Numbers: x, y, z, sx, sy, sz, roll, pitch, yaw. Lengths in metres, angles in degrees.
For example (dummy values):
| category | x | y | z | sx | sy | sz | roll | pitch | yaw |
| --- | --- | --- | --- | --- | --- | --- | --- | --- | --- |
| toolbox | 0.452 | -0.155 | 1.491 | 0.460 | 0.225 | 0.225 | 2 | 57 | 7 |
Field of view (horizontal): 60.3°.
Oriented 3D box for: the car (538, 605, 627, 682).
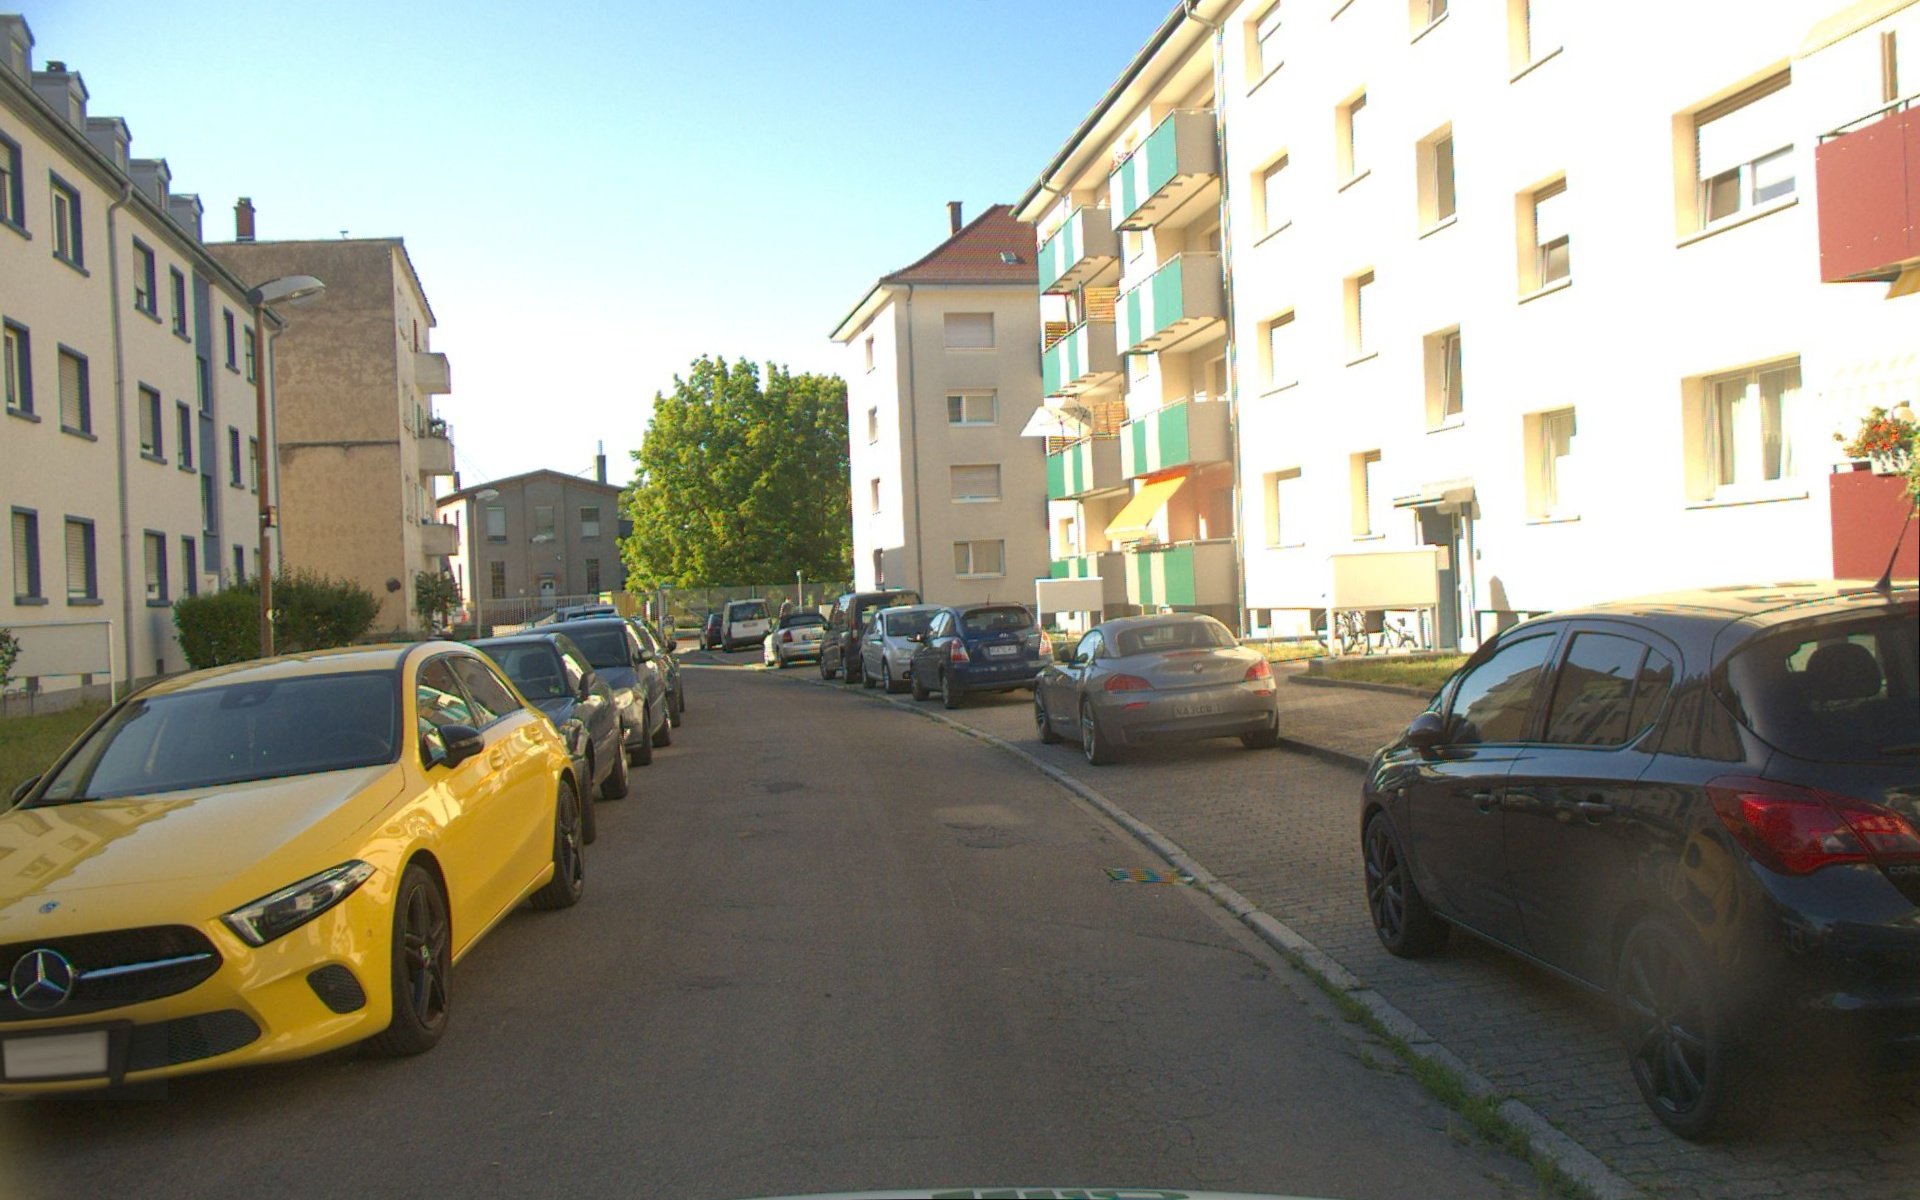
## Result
| category | x | y | z | sx | sy | sz | roll | pitch | yaw |
| --- | --- | --- | --- | --- | --- | --- | --- | --- | --- |
| car | -8.832 | 0.979 | 38.594 | 1.802 | 1.541 | 3.985 | -5 | 0 | -14 |

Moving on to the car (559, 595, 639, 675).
| category | x | y | z | sx | sy | sz | roll | pitch | yaw |
| --- | --- | --- | --- | --- | --- | --- | --- | --- | --- |
| car | -9.562 | 0.912 | 43.621 | 1.864 | 1.887 | 4.180 | -4 | 0 | -14 |

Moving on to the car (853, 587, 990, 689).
| category | x | y | z | sx | sy | sz | roll | pitch | yaw |
| --- | --- | --- | --- | --- | --- | --- | --- | --- | --- |
| car | -0.773 | 0.656 | 30.249 | 1.653 | 1.615 | 3.999 | -4 | 1 | -13 |

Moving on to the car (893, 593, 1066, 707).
| category | x | y | z | sx | sy | sz | roll | pitch | yaw |
| --- | --- | --- | --- | --- | --- | --- | --- | --- | --- |
| car | 0.200 | 0.730 | 25.689 | 1.707 | 1.456 | 4.343 | -5 | 0 | -11 |

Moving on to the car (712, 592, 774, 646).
| category | x | y | z | sx | sy | sz | roll | pitch | yaw |
| --- | --- | --- | --- | --- | --- | --- | --- | --- | --- |
| car | -8.054 | 0.707 | 61.147 | 1.736 | 1.769 | 4.080 | -5 | 0 | -13 |

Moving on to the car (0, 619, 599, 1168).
| category | x | y | z | sx | sy | sz | roll | pitch | yaw |
| --- | --- | --- | --- | --- | --- | --- | --- | --- | --- |
| car | -2.728 | 0.905 | 6.923 | 1.661 | 1.413 | 4.154 | -4 | 1 | -4 |

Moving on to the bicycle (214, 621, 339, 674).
| category | x | y | z | sx | sy | sz | roll | pitch | yaw |
| --- | --- | --- | --- | --- | --- | --- | --- | --- | --- |
| bicycle | -15.837 | 1.098 | 38.384 | 2.629 | 1.150 | 0.769 | -1 | 0 | -21 |

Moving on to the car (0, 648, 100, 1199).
| category | x | y | z | sx | sy | sz | roll | pitch | yaw |
| --- | --- | --- | --- | --- | --- | --- | --- | --- | --- |
| car | -2.631 | 0.939 | 1.567 | 1.661 | 1.469 | 4.017 | -5 | 1 | -4 |

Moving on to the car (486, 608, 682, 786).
| category | x | y | z | sx | sy | sz | roll | pitch | yaw |
| --- | --- | --- | --- | --- | --- | --- | --- | --- | --- |
| car | -3.886 | 0.931 | 17.581 | 1.451 | 1.502 | 3.626 | -7 | 1 | -6 |

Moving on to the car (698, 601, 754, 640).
| category | x | y | z | sx | sy | sz | roll | pitch | yaw |
| --- | --- | --- | --- | --- | --- | --- | --- | --- | --- |
| car | -9.437 | 0.824 | 66.460 | 1.736 | 1.385 | 4.080 | -5 | 0 | -13 |

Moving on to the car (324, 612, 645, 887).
| category | x | y | z | sx | sy | sz | roll | pitch | yaw |
| --- | --- | --- | --- | --- | --- | --- | --- | --- | --- |
| car | -3.338 | 0.934 | 12.369 | 1.540 | 1.489 | 4.255 | -5 | 1 | -7 |

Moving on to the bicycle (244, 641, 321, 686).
| category | x | y | z | sx | sy | sz | roll | pitch | yaw |
| --- | --- | --- | --- | --- | --- | --- | --- | --- | --- |
| bicycle | -16.743 | 1.558 | 40.887 | 1.618 | 0.952 | 0.546 | -5 | 0 | -12 |

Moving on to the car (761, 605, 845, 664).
| category | x | y | z | sx | sy | sz | roll | pitch | yaw |
| --- | --- | --- | --- | --- | --- | --- | --- | --- | --- |
| car | -4.360 | 0.909 | 45.578 | 1.688 | 1.387 | 4.041 | -5 | 1 | -13 |

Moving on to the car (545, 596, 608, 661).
| category | x | y | z | sx | sy | sz | roll | pitch | yaw |
| --- | --- | --- | --- | --- | --- | --- | --- | --- | --- |
| car | -13.630 | 0.992 | 58.752 | 1.960 | 2.048 | 4.438 | -5 | 0 | -14 |

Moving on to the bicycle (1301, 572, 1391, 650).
| category | x | y | z | sx | sy | sz | roll | pitch | yaw |
| --- | --- | --- | --- | --- | --- | --- | --- | --- | --- |
| bicycle | 6.011 | 0.149 | 25.841 | 0.638 | 1.086 | 1.729 | -8 | 2 | -10 |

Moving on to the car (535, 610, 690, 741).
| category | x | y | z | sx | sy | sz | roll | pitch | yaw |
| --- | --- | --- | --- | --- | --- | --- | --- | --- | --- |
| car | -4.723 | 0.955 | 23.039 | 1.712 | 1.455 | 4.589 | -6 | 1 | -9 |

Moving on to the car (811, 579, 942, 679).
| category | x | y | z | sx | sy | sz | roll | pitch | yaw |
| --- | --- | --- | --- | --- | --- | --- | --- | --- | --- |
| car | -1.850 | 0.626 | 35.293 | 1.865 | 1.887 | 4.326 | -4 | 0 | -15 |

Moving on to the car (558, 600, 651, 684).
| category | x | y | z | sx | sy | sz | roll | pitch | yaw |
| --- | --- | --- | --- | --- | --- | --- | --- | --- | --- |
| car | -7.268 | 0.822 | 33.614 | 1.631 | 1.468 | 3.857 | -5 | 0 | -14 |

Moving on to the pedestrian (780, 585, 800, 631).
| category | x | y | z | sx | sy | sz | roll | pitch | yaw |
| --- | --- | --- | --- | --- | --- | --- | --- | --- | --- |
| pedestrian | -7.036 | 0.341 | 68.451 | 0.641 | 1.847 | 0.613 | -5 | 0 | -4 |

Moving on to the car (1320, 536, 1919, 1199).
| category | x | y | z | sx | sy | sz | roll | pitch | yaw |
| --- | --- | --- | --- | --- | --- | --- | --- | --- | --- |
| car | 2.729 | 0.623 | 5.899 | 1.702 | 1.534 | 3.883 | -6 | 1 | -4 |

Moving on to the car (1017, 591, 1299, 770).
| category | x | y | z | sx | sy | sz | roll | pitch | yaw |
| --- | --- | --- | --- | --- | --- | --- | --- | --- | --- |
| car | 1.809 | 0.686 | 16.502 | 1.654 | 1.386 | 4.232 | -6 | 1 | -8 |
